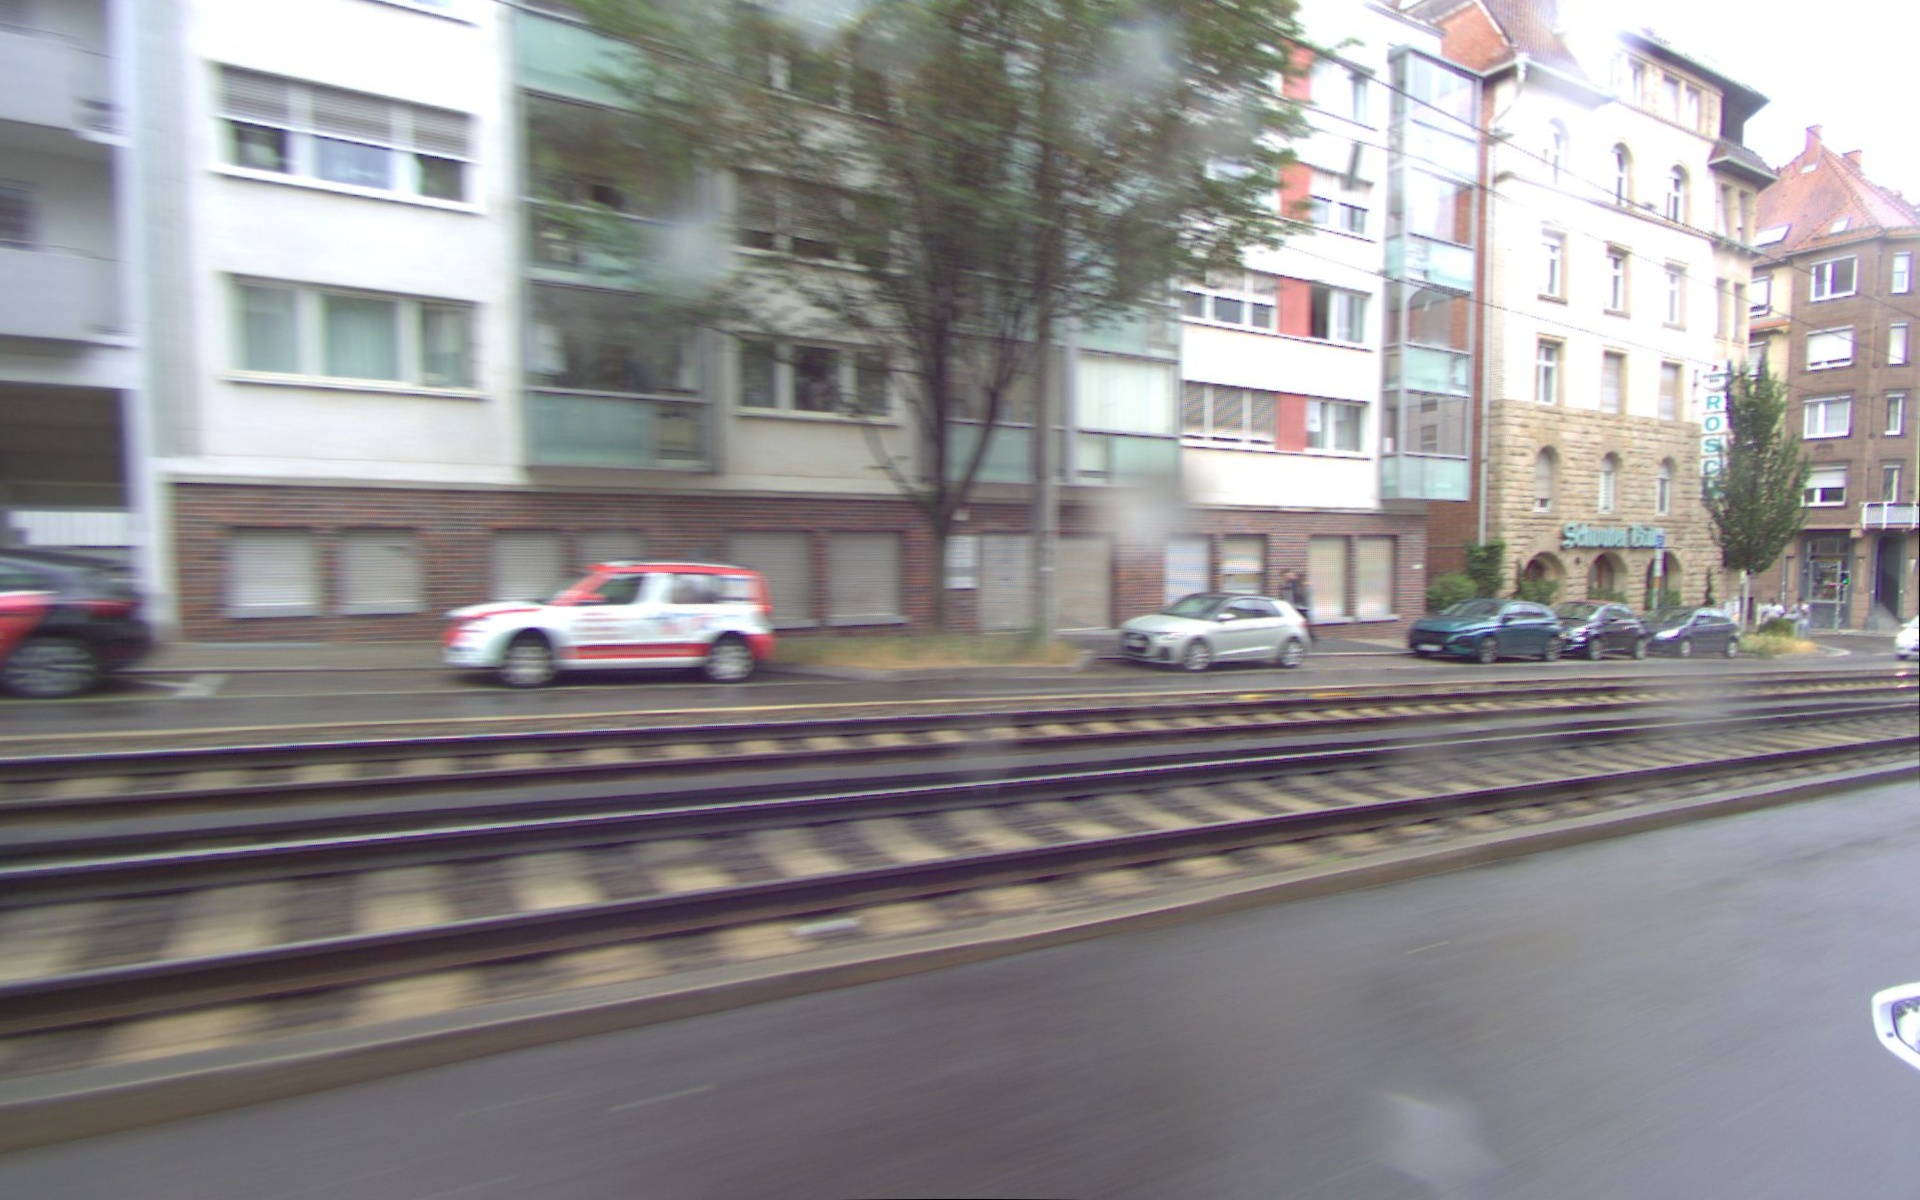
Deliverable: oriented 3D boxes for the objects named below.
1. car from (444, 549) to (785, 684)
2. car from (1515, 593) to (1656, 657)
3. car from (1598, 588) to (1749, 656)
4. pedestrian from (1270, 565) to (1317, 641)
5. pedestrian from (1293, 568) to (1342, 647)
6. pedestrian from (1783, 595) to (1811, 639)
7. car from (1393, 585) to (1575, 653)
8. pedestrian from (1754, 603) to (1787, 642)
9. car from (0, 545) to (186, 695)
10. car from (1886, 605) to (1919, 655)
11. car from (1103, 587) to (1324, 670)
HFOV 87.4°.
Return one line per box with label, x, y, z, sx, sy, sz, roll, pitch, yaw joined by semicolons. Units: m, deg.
car;-4.655;0.199;13.683;4.112;1.590;1.766;1;1;-32
car;16.446;0.643;26.384;3.488;1.518;1.796;1;2;-33
car;20.568;0.621;28.972;3.689;1.751;1.880;1;4;-25
pedestrian;8.029;0.073;24.164;0.773;1.796;0.670;1;2;-30
pedestrian;8.375;0.175;23.519;0.773;1.796;0.670;1;2;-30
pedestrian;30.585;0.622;36.721;0.635;1.591;0.515;1;1;-26
car;12.485;0.431;23.868;4.379;1.474;1.792;1;1;-31
pedestrian;30.160;0.838;37.380;0.637;1.441;0.751;1;1;-28
car;-10.684;0.150;10.071;4.419;1.459;1.896;1;1;-32
car;30.804;0.948;31.476;3.538;1.502;1.619;1;1;-30
car;4.930;0.530;19.419;4.082;1.354;1.693;1;4;-30
